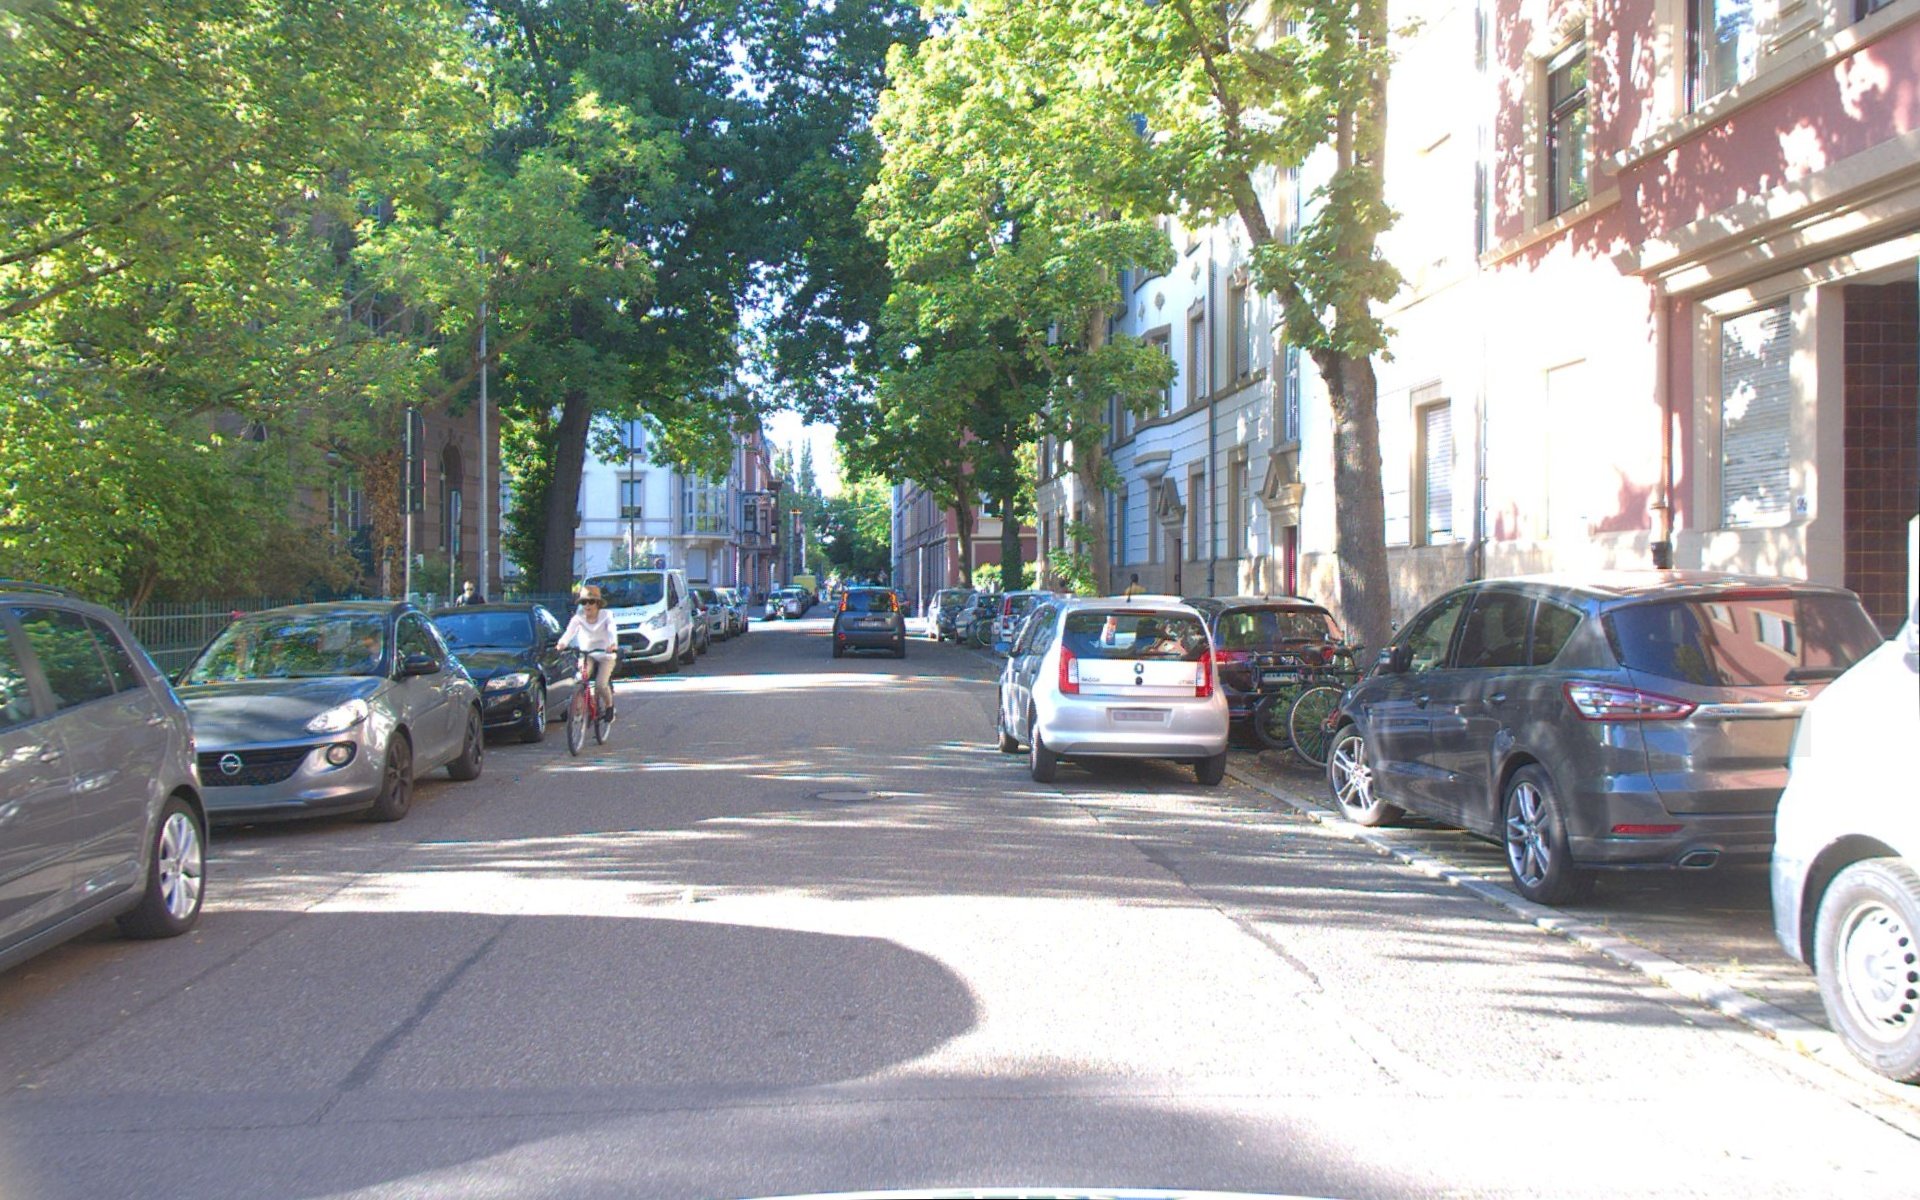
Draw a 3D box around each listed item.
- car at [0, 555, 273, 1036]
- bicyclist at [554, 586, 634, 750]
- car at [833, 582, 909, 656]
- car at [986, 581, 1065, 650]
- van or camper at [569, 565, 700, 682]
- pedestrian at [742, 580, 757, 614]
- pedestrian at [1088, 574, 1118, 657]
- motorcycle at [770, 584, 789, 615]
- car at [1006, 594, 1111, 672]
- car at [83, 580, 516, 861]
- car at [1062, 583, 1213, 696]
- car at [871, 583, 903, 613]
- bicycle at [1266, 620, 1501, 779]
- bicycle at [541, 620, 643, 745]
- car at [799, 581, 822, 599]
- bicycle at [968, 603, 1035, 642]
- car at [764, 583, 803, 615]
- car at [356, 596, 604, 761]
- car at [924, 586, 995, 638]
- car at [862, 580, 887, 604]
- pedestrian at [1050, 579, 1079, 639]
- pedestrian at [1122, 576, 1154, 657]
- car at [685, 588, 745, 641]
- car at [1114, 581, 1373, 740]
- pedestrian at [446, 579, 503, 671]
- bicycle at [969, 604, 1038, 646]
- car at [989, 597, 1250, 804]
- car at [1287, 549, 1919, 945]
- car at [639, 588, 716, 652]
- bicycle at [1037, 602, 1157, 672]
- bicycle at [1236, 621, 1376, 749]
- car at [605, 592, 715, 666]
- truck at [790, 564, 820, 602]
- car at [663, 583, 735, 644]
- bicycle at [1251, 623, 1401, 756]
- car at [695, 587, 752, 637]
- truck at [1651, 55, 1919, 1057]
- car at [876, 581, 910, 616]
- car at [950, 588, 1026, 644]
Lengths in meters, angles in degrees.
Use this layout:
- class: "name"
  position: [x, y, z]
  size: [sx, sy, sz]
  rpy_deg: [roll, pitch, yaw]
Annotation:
- class: "car"
  position: [-4.166, 0.691, 5.979]
  size: [1.746, 1.618, 4.465]
  rpy_deg: [-3, 1, -5]
- class: "bicyclist"
  position: [-3.498, 0.637, 15.829]
  size: [0.638, 1.535, 0.624]
  rpy_deg: [0, 0, -3]
- class: "car"
  position: [-2.022, 0.392, 36.864]
  size: [1.601, 1.577, 3.261]
  rpy_deg: [0, 0, -5]
- class: "car"
  position: [1.509, 0.327, 39.273]
  size: [1.490, 1.537, 3.541]
  rpy_deg: [-1, 1, -4]
- class: "van or camper"
  position: [-6.354, 0.401, 32.900]
  size: [1.885, 2.014, 5.456]
  rpy_deg: [-4, 1, -5]
- class: "pedestrian"
  position: [-11.592, -0.151, 91.024]
  size: [0.707, 1.871, 0.627]
  rpy_deg: [1, 1, 7]
- class: "pedestrian"
  position: [3.102, 0.332, 35.896]
  size: [0.509, 1.765, 0.877]
  rpy_deg: [0, 0, -3]
- class: "motorcycle"
  position: [-8.970, -0.040, 81.974]
  size: [0.685, 1.486, 1.745]
  rpy_deg: [-2, 1, -13]
- class: "car"
  position: [1.924, 0.620, 33.359]
  size: [1.590, 1.418, 4.154]
  rpy_deg: [-1, 1, -4]
- class: "car"
  position: [-4.578, 0.706, 12.165]
  size: [1.643, 1.600, 4.149]
  rpy_deg: [-3, 1, -3]
- class: "car"
  position: [2.543, 0.521, 24.487]
  size: [1.565, 1.514, 3.745]
  rpy_deg: [-1, 1, -4]
- class: "car"
  position: [-3.866, -0.123, 87.725]
  size: [1.630, 1.531, 3.755]
  rpy_deg: [1, 1, -3]
- class: "bicycle"
  position: [3.514, 0.809, 13.777]
  size: [1.776, 1.187, 0.569]
  rpy_deg: [-3, 1, -5]
- class: "bicycle"
  position: [-3.493, 0.759, 15.828]
  size: [0.651, 1.096, 1.684]
  rpy_deg: [0, 0, -2]
- class: "car"
  position: [-13.793, -0.895, 152.931]
  size: [1.923, 1.504, 3.922]
  rpy_deg: [-4, 1, -3]
- class: "bicycle"
  position: [1.099, 0.598, 43.998]
  size: [1.682, 0.966, 0.732]
  rpy_deg: [-1, 1, -4]
- class: "car"
  position: [-9.074, -0.056, 85.271]
  size: [1.761, 1.456, 3.922]
  rpy_deg: [-4, 1, -3]
- class: "car"
  position: [-5.163, 0.753, 18.433]
  size: [1.681, 1.419, 4.774]
  rpy_deg: [-4, 1, -5]
- class: "car"
  position: [-0.074, 0.347, 52.830]
  size: [1.755, 1.578, 4.403]
  rpy_deg: [0, 0, -7]
- class: "car"
  position: [-5.804, -0.552, 112.304]
  size: [1.630, 1.531, 3.755]
  rpy_deg: [1, 1, -3]
- class: "pedestrian"
  position: [3.041, 0.260, 48.078]
  size: [0.762, 1.724, 0.874]
  rpy_deg: [0, 0, -2]
- class: "pedestrian"
  position: [3.857, 0.354, 35.868]
  size: [0.583, 1.731, 0.688]
  rpy_deg: [0, 0, -3]
- class: "car"
  position: [-7.950, 0.421, 53.484]
  size: [1.715, 1.500, 4.454]
  rpy_deg: [-5, 1, -10]
- class: "car"
  position: [2.965, 0.563, 18.285]
  size: [1.752, 1.540, 4.455]
  rpy_deg: [0, 1, -5]
- class: "pedestrian"
  position: [-8.552, 0.432, 29.168]
  size: [0.863, 1.604, 0.529]
  rpy_deg: [0, 0, -4]
- class: "bicycle"
  position: [1.125, 0.636, 42.775]
  size: [1.735, 1.057, 0.605]
  rpy_deg: [0, 0, -4]
- class: "car"
  position: [1.286, 0.787, 14.818]
  size: [1.646, 1.571, 3.796]
  rpy_deg: [1, 1, -5]
- class: "car"
  position: [3.594, 0.620, 9.913]
  size: [1.849, 1.746, 4.938]
  rpy_deg: [-1, 1, -6]
- class: "car"
  position: [-7.342, 0.485, 43.266]
  size: [1.570, 1.485, 4.024]
  rpy_deg: [-3, 1, -5]
- class: "bicycle"
  position: [2.320, 0.619, 28.095]
  size: [1.930, 1.091, 0.599]
  rpy_deg: [-2, 0, -4]
- class: "bicycle"
  position: [3.103, 0.752, 14.851]
  size: [1.177, 1.094, 0.298]
  rpy_deg: [-2, 0, -5]
- class: "car"
  position: [-6.887, 0.618, 38.389]
  size: [1.961, 1.483, 4.602]
  rpy_deg: [-3, 1, -4]
- class: "truck"
  position: [-12.881, -1.396, 137.700]
  size: [2.030, 2.976, 5.064]
  rpy_deg: [-4, 1, -3]
- class: "car"
  position: [-7.617, 0.373, 48.601]
  size: [1.790, 1.580, 4.127]
  rpy_deg: [-4, 1, -7]
- class: "bicycle"
  position: [3.365, 0.816, 15.221]
  size: [1.282, 1.160, 0.327]
  rpy_deg: [-2, 0, -5]
- class: "car"
  position: [-8.344, 0.381, 58.565]
  size: [1.664, 1.577, 3.915]
  rpy_deg: [-4, 1, -5]
- class: "truck"
  position: [4.040, -0.134, 3.517]
  size: [2.033, 3.020, 6.103]
  rpy_deg: [-3, 1, -5]
- class: "car"
  position: [-3.377, -0.088, 83.259]
  size: [1.630, 1.698, 3.755]
  rpy_deg: [1, 1, -3]
- class: "car"
  position: [0.755, 0.422, 47.403]
  size: [1.581, 1.504, 3.863]
  rpy_deg: [-1, 1, -8]
